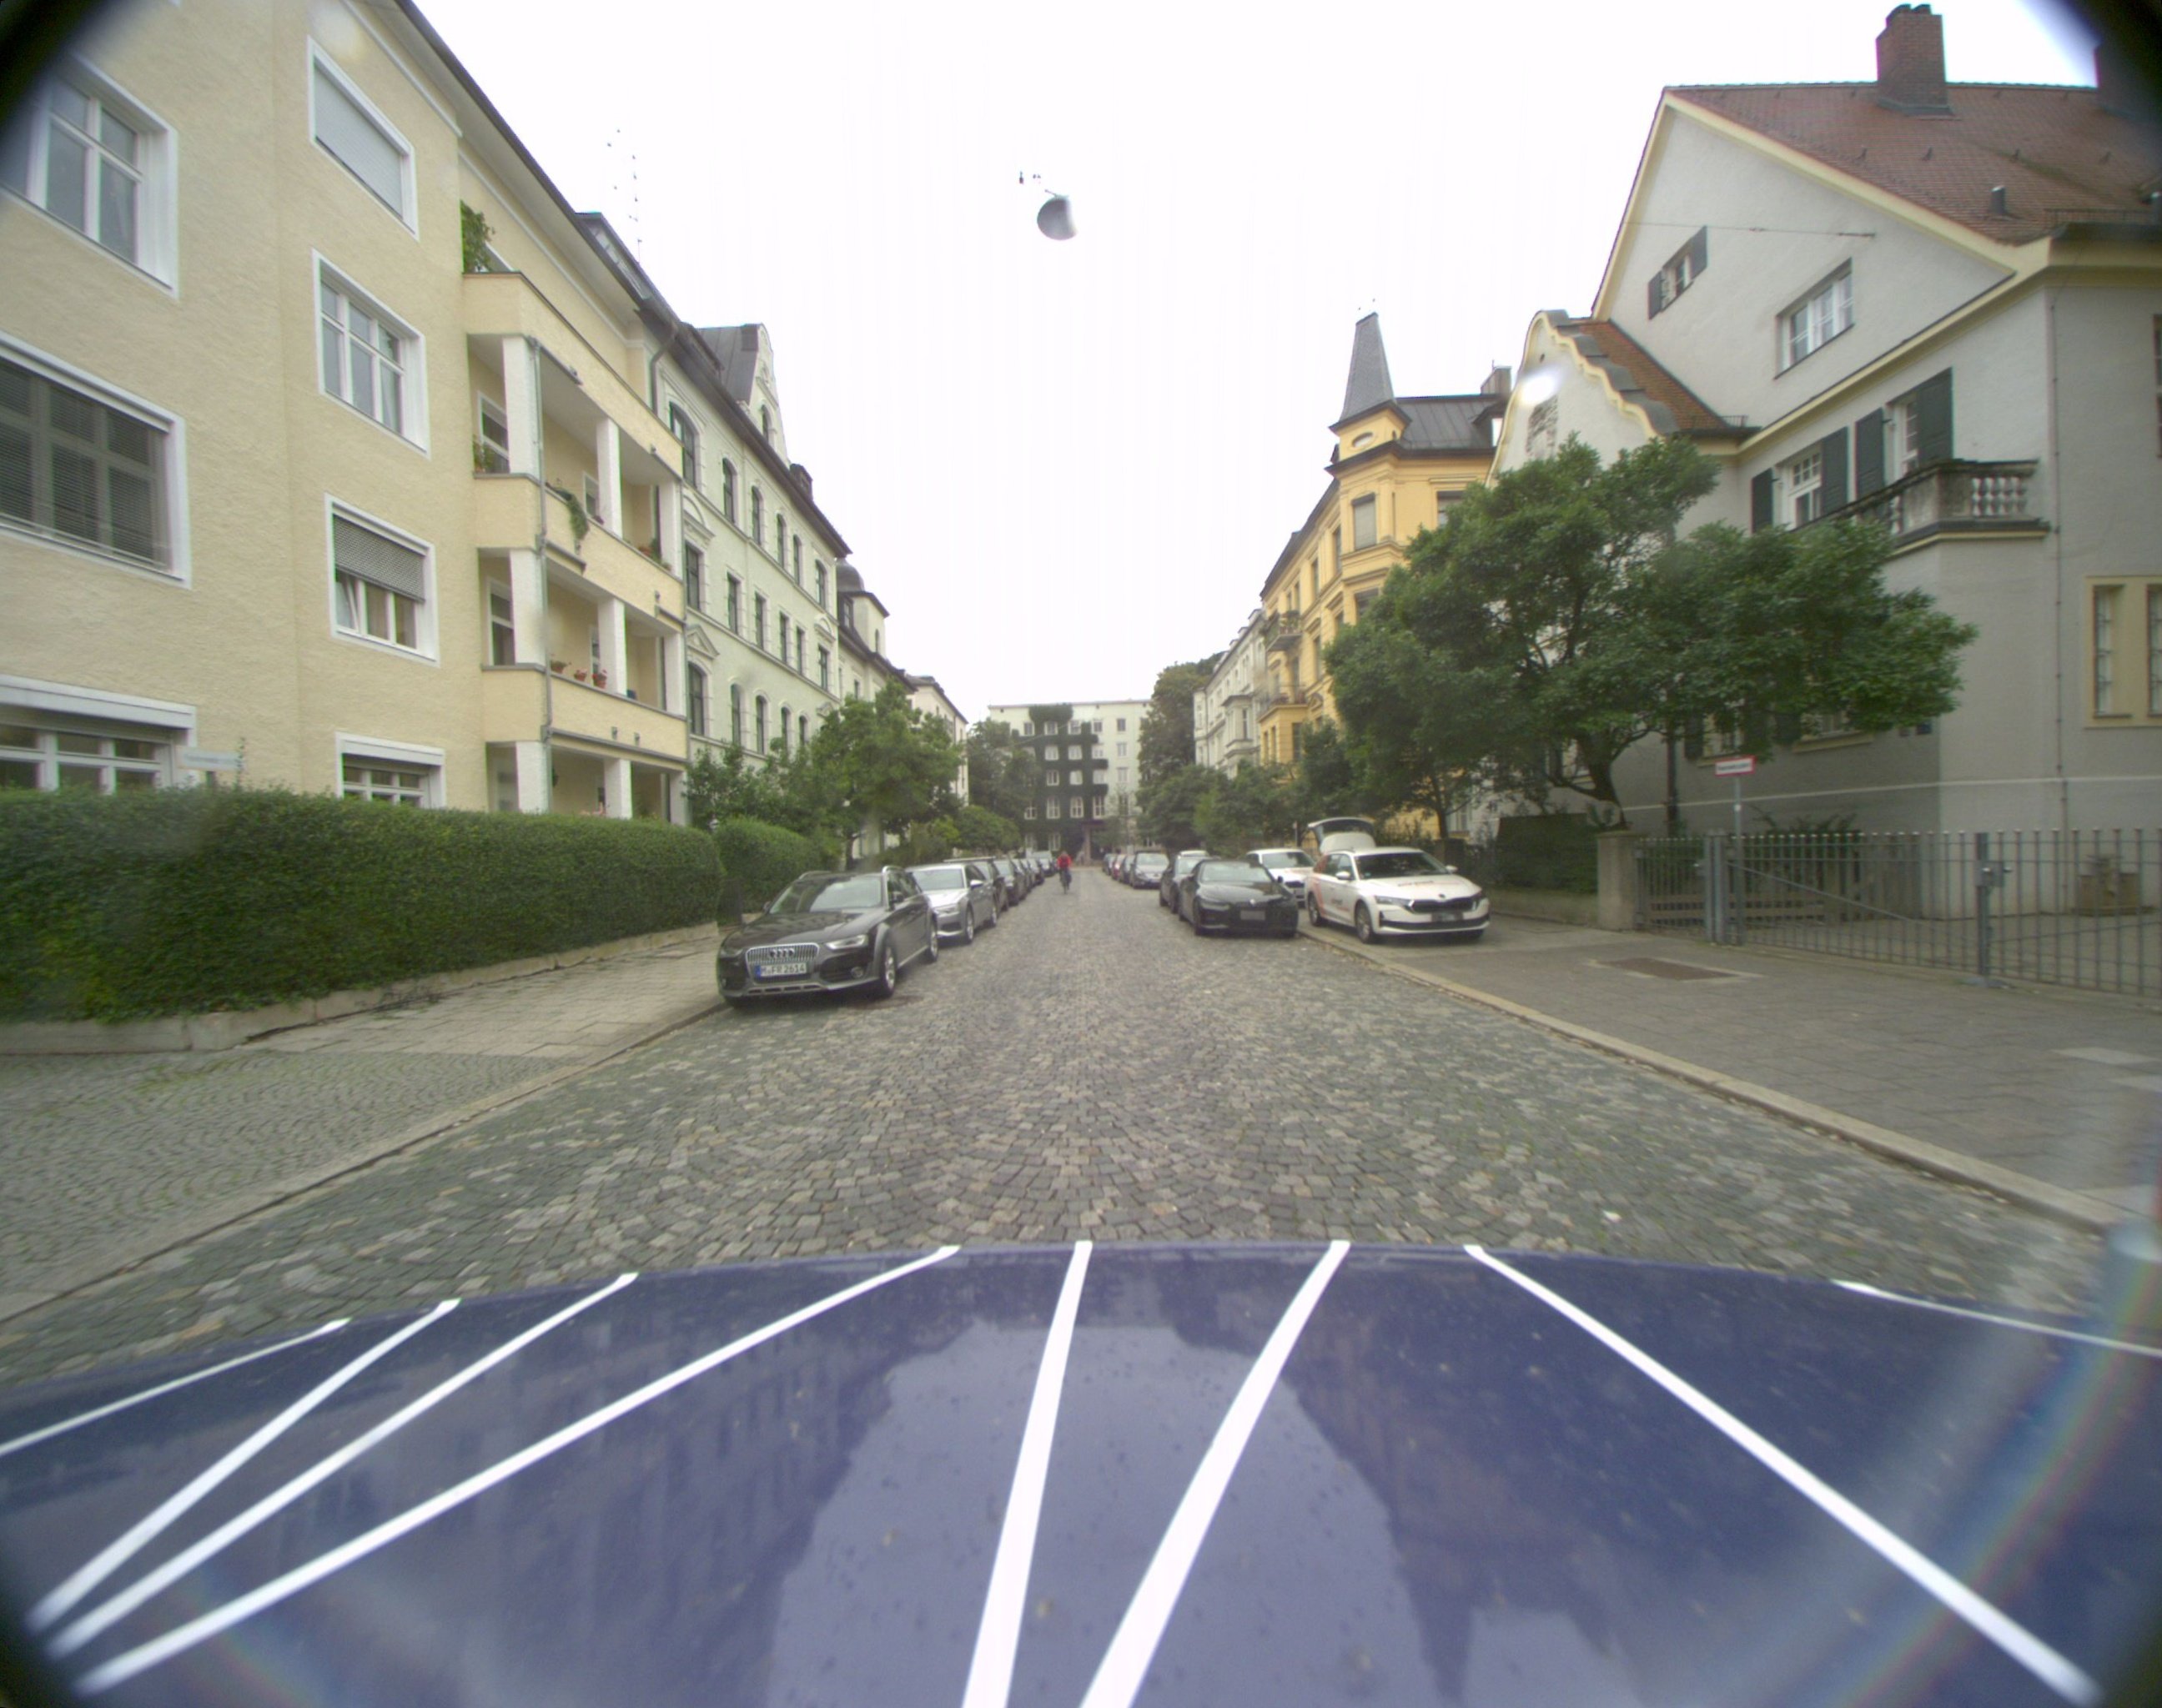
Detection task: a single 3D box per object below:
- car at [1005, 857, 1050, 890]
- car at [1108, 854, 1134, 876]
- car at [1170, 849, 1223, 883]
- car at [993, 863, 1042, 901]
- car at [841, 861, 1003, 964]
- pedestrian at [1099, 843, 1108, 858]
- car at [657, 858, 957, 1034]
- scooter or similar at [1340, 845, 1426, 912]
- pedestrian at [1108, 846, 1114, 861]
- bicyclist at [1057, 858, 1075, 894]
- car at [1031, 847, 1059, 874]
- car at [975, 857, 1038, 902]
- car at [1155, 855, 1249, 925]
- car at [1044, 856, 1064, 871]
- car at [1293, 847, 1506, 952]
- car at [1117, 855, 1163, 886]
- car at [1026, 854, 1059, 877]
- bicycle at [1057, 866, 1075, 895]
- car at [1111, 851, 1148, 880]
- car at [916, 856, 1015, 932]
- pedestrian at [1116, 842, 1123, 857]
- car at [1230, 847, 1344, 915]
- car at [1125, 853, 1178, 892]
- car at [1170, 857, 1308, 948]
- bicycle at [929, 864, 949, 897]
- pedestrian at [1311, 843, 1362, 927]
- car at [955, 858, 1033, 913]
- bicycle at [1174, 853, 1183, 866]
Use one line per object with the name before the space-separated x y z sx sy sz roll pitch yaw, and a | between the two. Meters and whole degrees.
car | -2.817 1.010 41.391 1.909 1.494 5.105 -4 0 1
car | 2.920 0.789 56.027 1.815 1.490 4.510 0 0 2
car | 5.498 0.550 36.729 1.846 1.457 4.389 -3 0 0
car | -2.902 1.255 35.737 1.760 1.451 4.480 -4 0 1
car | -2.920 1.008 15.203 1.998 1.543 4.986 -3 0 1
pedestrian | 2.919 -0.471 99.019 0.703 1.905 0.861 -4 1 -31
car | -3.106 0.919 9.981 1.998 1.543 5.014 -4 0 0
scooter or similar | 7.383 0.566 18.778 1.065 1.514 2.634 -1 0 1
pedestrian | 3.918 -0.028 99.263 0.701 1.905 0.863 -3 1 3
bicyclist | -0.588 0.849 29.757 0.648 1.350 0.656 -3 1 0
car | -2.887 0.495 62.297 1.999 1.958 4.965 -5 1 -1
car | -2.912 0.959 30.576 1.887 1.480 4.813 -4 0 1
car | 3.077 0.858 20.213 1.744 1.594 4.536 0 0 0
car | -2.504 0.860 72.459 1.744 1.367 4.281 0 0 0
car | 5.198 0.643 13.158 1.780 1.408 4.561 -3 0 1
car | 3.011 0.792 39.556 1.875 1.461 5.132 0 0 -1
car | -2.819 0.828 56.714 1.942 1.457 4.532 -3 0 2
bicycle | -0.575 1.020 29.701 0.636 1.021 1.955 -2 1 0
car | 2.866 0.644 45.338 1.846 1.577 4.191 0 0 -1
car | -2.924 0.958 20.142 1.898 1.644 4.293 -3 0 0
pedestrian | 5.049 -0.535 99.078 0.666 1.905 0.863 -3 1 9
car | 5.331 0.631 20.315 1.744 1.527 4.466 -3 0 0
car | 3.050 0.784 33.610 1.744 1.577 4.191 -1 0 -3
car | 2.933 0.831 15.220 1.819 1.447 4.912 1 0 1
bicycle | -5.475 0.993 29.220 0.582 1.188 1.646 -3 0 -14
pedestrian | 5.147 0.618 15.335 0.768 1.640 0.582 -2 1 2
car | -2.775 0.960 25.345 1.823 1.480 5.049 -4 0 1
bicycle | 8.014 0.445 62.449 0.464 1.045 1.695 -5 1 1
